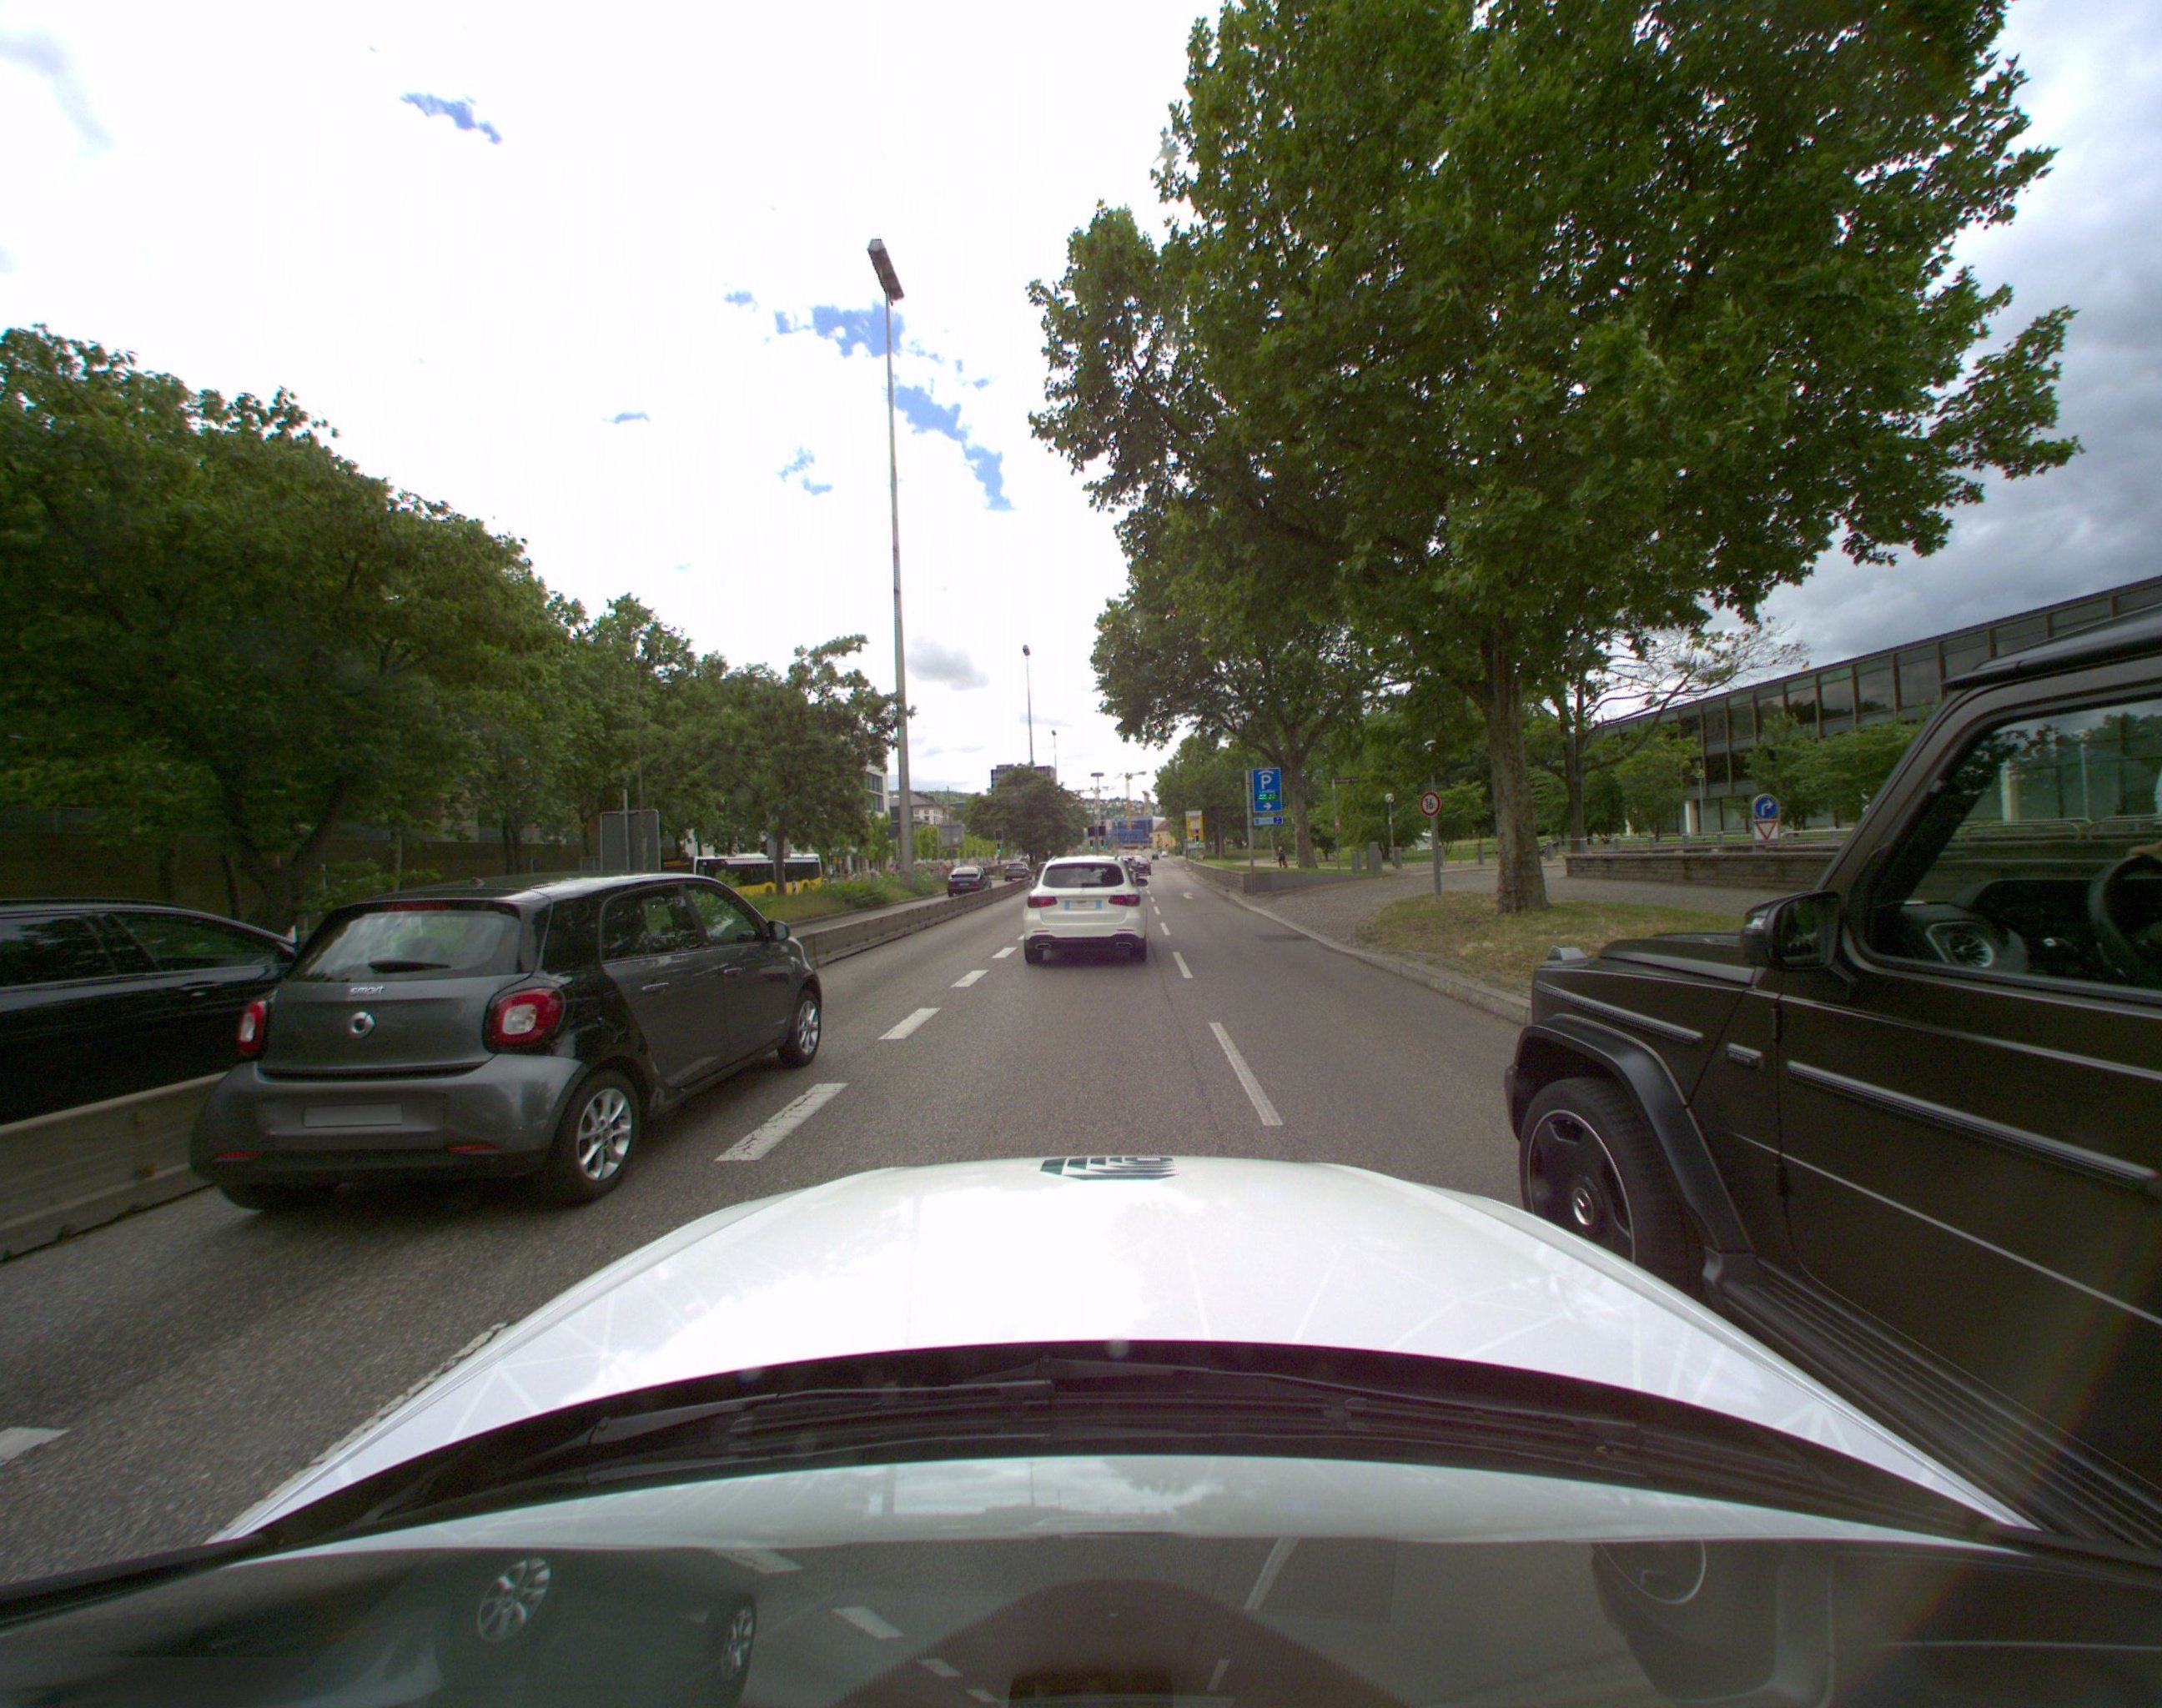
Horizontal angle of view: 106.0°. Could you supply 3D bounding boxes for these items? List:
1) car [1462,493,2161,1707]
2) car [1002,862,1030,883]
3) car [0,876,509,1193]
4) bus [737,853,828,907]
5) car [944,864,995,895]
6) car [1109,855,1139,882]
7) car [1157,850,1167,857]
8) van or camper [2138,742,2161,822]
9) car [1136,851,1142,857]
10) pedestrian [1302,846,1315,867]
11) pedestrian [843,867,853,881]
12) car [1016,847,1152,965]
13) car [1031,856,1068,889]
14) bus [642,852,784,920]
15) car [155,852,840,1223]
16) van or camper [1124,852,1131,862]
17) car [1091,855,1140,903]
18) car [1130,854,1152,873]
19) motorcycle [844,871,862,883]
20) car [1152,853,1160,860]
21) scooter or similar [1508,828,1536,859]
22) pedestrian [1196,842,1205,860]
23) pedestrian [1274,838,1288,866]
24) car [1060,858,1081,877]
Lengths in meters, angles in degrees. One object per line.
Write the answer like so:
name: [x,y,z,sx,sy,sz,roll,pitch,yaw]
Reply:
car: [2.495,0.435,0.970,1.970,1.893,4.708,0,-1,1]
car: [-5.012,1.431,63.199,1.746,1.553,4.002,0,0,2]
car: [-6.107,0.913,4.723,1.804,1.460,4.868,2,-1,4]
bus: [-20.240,1.706,55.718,2.911,3.303,7.712,-3,-1,3]
car: [-5.134,1.145,37.824,1.713,1.292,4.001,0,0,1]
car: [2.592,0.849,49.450,1.713,1.585,4.001,0,0,1]
car: [21.656,-0.170,218.035,1.988,1.618,3.997,0,-1,-2]
van or camper: [34.639,-2.236,23.213,5.673,2.320,2.322,-2,-2,3]
car: [17.330,-0.006,244.609,1.713,1.585,4.001,0,0,1]
pedestrian: [16.599,0.179,59.418,0.783,1.527,0.684,0,-1,3]
pedestrian: [-27.758,2.391,97.146,0.887,1.557,0.591,-2,-1,-40]
car: [0.100,0.775,13.617,1.933,1.684,4.001,0,-1,1]
car: [-1.666,0.951,43.897,1.713,1.678,4.001,0,0,1]
bus: [-20.646,1.663,46.646,2.901,3.305,10.455,-3,-1,2]
car: [-2.957,0.792,5.142,1.620,1.509,3.542,-1,-1,3]
van or camper: [12.312,0.825,215.584,1.915,2.320,4.002,-2,-2,3]
car: [1.314,0.894,29.810,1.665,1.628,4.004,0,-1,4]
car: [5.087,0.789,69.451,1.713,1.585,4.001,0,0,1]
motorcycle: [-26.378,2.656,94.278,1.891,1.234,0.654,-3,-3,-22]
car: [17.209,0.584,186.862,1.713,1.585,4.001,0,0,1]
scooter or similar: [18.070,-0.417,33.381,0.713,1.247,0.729,0,-1,1]
pedestrian: [10.712,-0.251,73.162,0.695,1.656,0.684,0,-1,2]
pedestrian: [14.470,-0.144,58.900,0.853,2.014,0.815,0,-2,1]
car: [-0.929,1.199,72.273,1.713,1.585,4.000,0,0,1]
